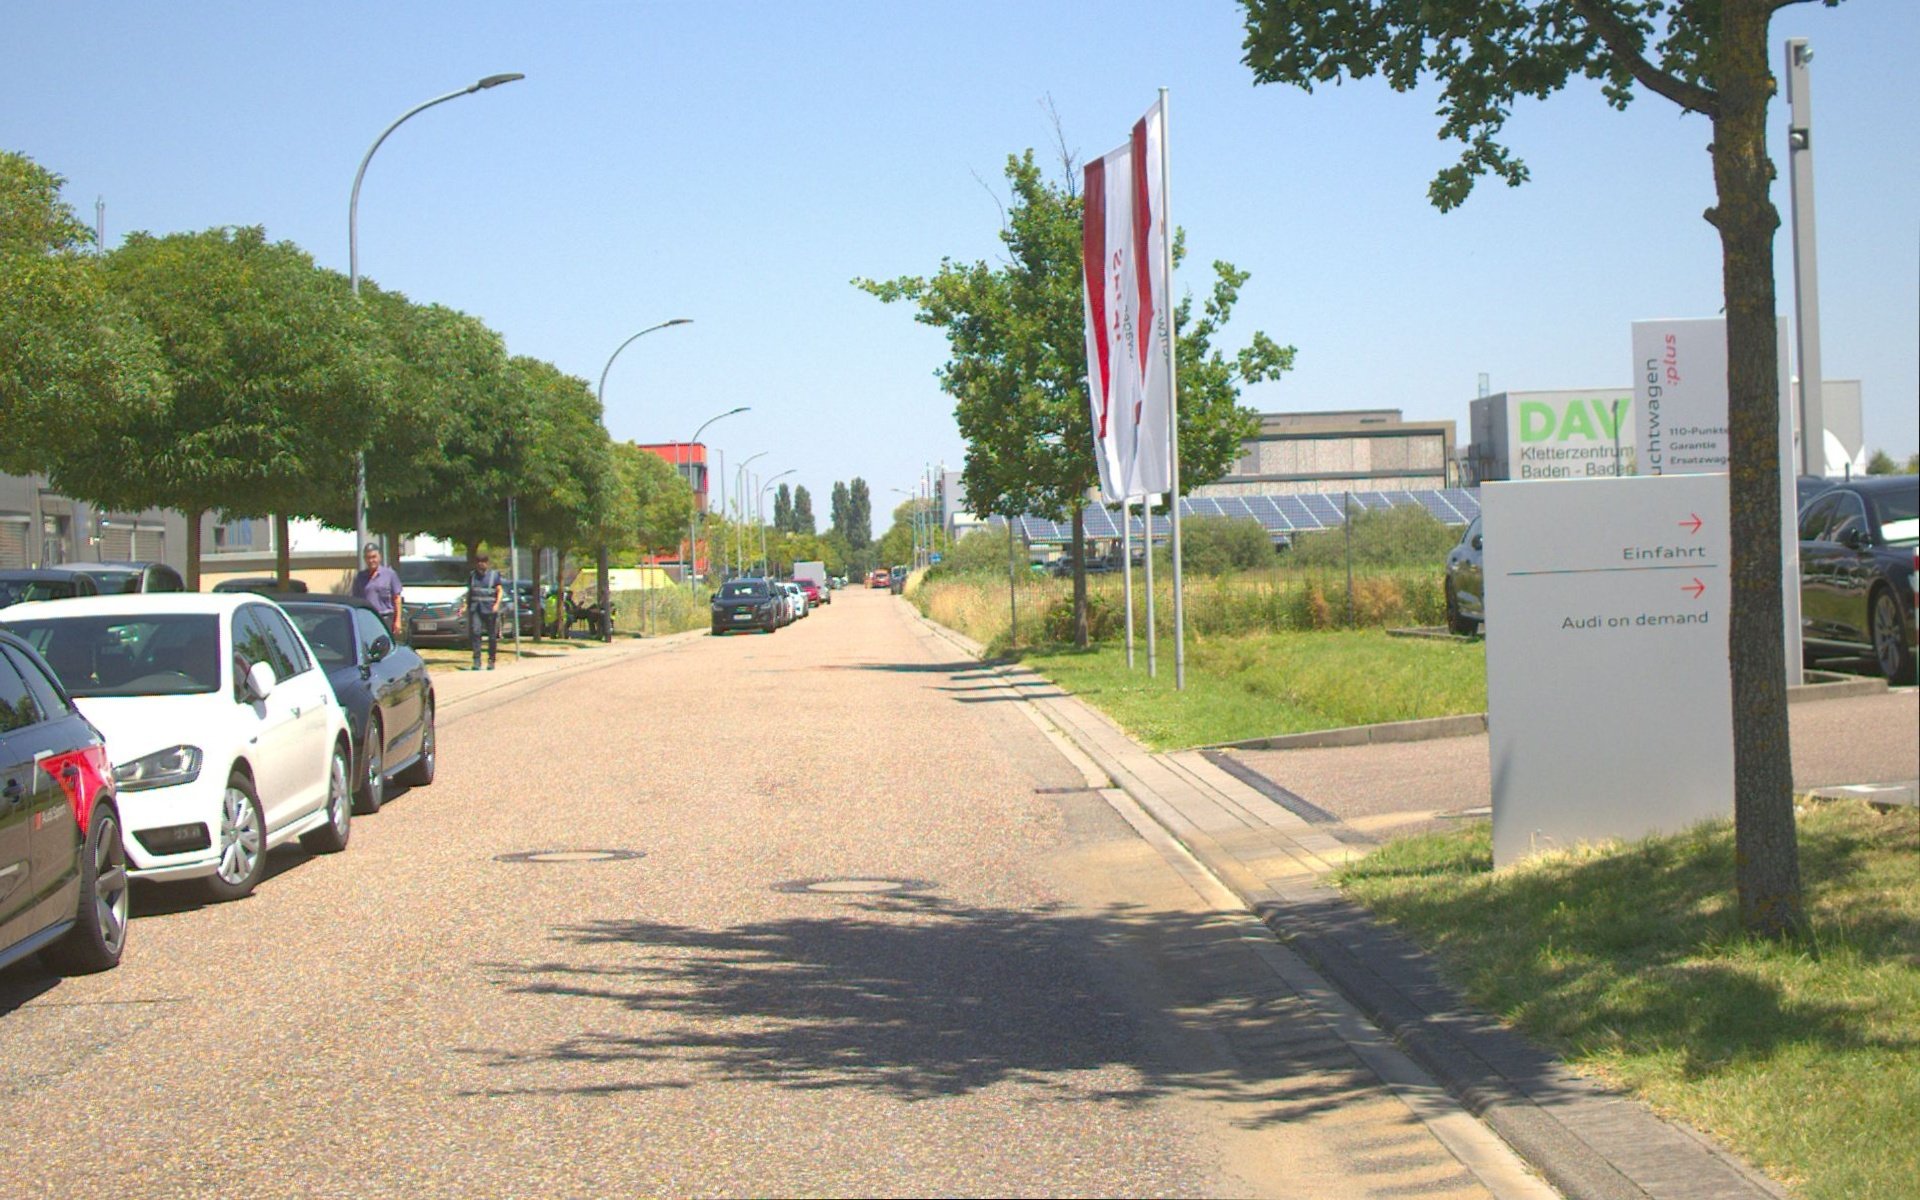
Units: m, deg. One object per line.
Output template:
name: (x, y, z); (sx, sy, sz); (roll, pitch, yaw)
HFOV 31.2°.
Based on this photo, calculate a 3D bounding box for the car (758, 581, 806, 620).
car: (-7.328, 0.005, 141.787); (1.787, 1.515, 3.983); (-3, 1, -1)

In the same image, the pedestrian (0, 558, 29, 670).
pedestrian: (-14.867, 0.214, 52.881); (0.840, 1.707, 0.965); (-1, 0, -2)

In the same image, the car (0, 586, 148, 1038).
car: (-4.144, 0.754, 11.446); (1.824, 1.495, 4.520); (-3, 1, -1)

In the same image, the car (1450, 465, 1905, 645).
car: (7.990, -0.504, 38.553); (4.528, 1.687, 2.032); (-4, 1, -3)

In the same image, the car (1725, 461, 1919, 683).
car: (7.456, -0.302, 25.841); (2.025, 1.509, 5.239); (-5, 1, -1)

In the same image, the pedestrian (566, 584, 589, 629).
pedestrian: (-10.278, 0.176, 92.317); (0.506, 1.187, 0.753); (1, 0, 1)

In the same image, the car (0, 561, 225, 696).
car: (-10.490, 0.315, 42.813); (1.765, 1.568, 4.540); (-1, 1, -1)

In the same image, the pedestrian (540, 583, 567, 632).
pedestrian: (-9.568, 0.179, 80.901); (0.479, 1.146, 0.555); (1, -2, 9)

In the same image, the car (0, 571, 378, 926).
car: (-4.155, 0.645, 17.074); (1.824, 1.495, 4.259); (-3, 1, -1)

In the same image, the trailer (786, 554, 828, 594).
trailer: (-8.561, -1.433, 193.046); (2.201, 2.130, 4.286); (-3, 0, -1)

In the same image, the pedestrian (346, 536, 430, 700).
pedestrian: (-6.364, 0.192, 38.312); (0.744, 1.795, 1.135); (0, 1, 0)

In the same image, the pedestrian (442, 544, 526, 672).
pedestrian: (-7.399, 0.110, 53.421); (0.842, 1.966, 0.962); (0, 0, 39)

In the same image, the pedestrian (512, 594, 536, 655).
pedestrian: (-11.481, 0.633, 90.549); (0.506, 1.590, 0.753); (1, 0, 1)

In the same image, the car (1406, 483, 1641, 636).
car: (7.008, -0.504, 43.287); (2.025, 1.687, 5.108); (-4, 1, 0)

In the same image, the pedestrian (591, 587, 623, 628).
pedestrian: (-9.380, 0.199, 91.372); (0.750, 1.095, 0.646); (1, 0, 3)

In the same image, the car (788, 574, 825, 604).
car: (-8.128, -0.590, 182.046); (1.787, 1.515, 3.983); (-3, 0, -1)

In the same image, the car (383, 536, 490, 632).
car: (-11.325, -0.362, 74.653); (1.837, 2.012, 5.126); (0, 1, -4)

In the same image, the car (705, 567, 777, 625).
car: (-6.291, -0.132, 99.033); (1.926, 1.562, 4.190); (-3, 1, -3)

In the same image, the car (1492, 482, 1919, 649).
car: (8.063, -0.381, 35.955); (4.528, 1.452, 2.032); (-4, 1, -3)

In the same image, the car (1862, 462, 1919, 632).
car: (9.960, -0.547, 31.401); (2.025, 1.584, 4.779); (-4, 1, -1)

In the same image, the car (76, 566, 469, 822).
car: (-4.552, 0.556, 23.427); (1.824, 1.495, 4.526); (-3, 1, -2)

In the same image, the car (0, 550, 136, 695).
car: (-10.232, 0.228, 38.015); (1.682, 1.495, 3.705); (-2, 1, -6)
